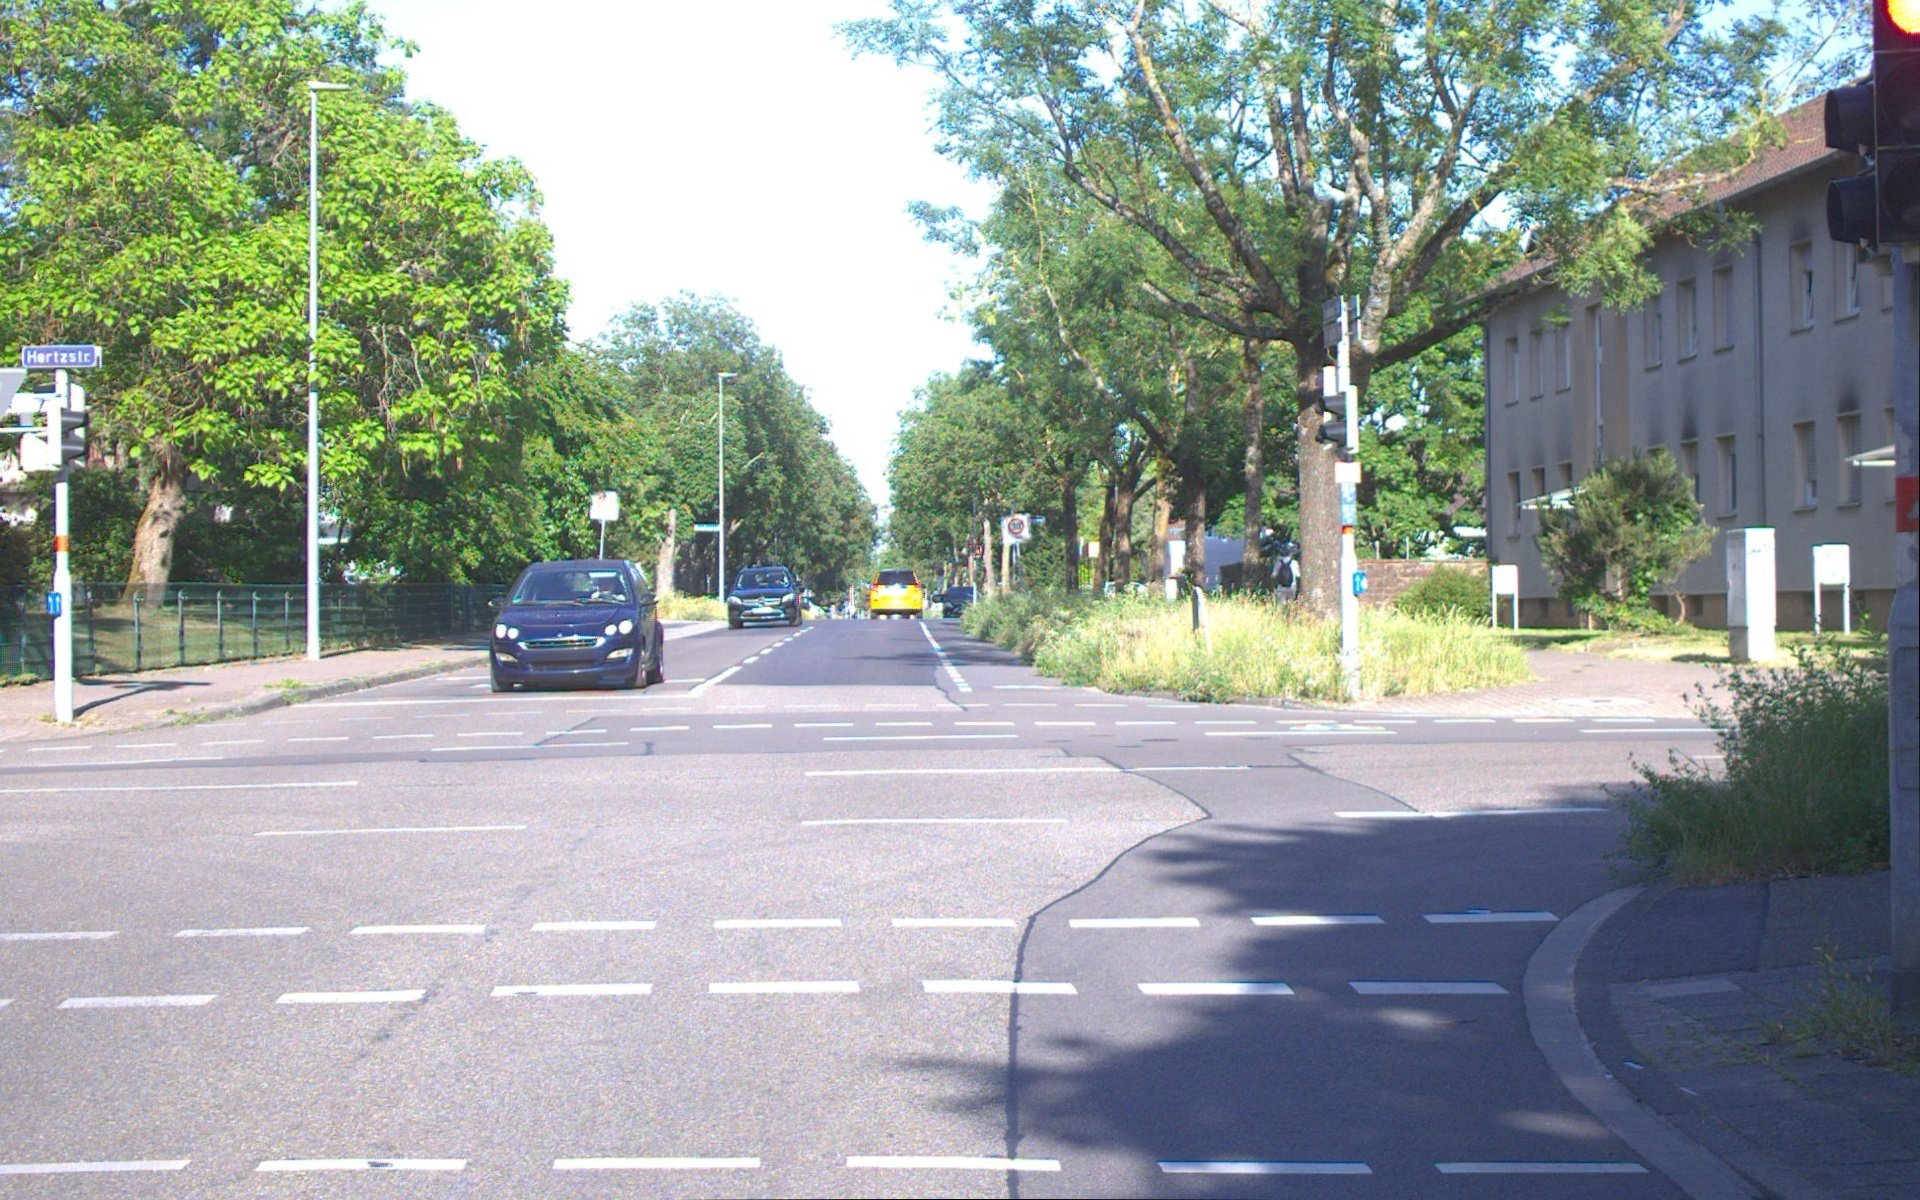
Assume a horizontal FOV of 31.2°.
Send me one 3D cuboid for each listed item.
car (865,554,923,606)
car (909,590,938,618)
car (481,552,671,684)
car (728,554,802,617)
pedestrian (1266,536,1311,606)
[{"bbox_3d":[-2.084,-0.641,109.483,1.751,1.577,4.000,1,0,0],"label":"car"},{"bbox_3d":[-2.324,0.240,219.246,1.773,1.748,4.000,1,0,0],"label":"car"},{"bbox_3d":[-4.270,0.174,38.621,1.711,1.381,3.471,0,1,0],"label":"car"},{"bbox_3d":[-5.179,-0.395,91.757,1.758,1.619,3.268,0,1,0],"label":"car"},{"bbox_3d":[7.122,-0.625,74.535,0.842,1.488,0.924,2,1,-1],"label":"pedestrian"}]
